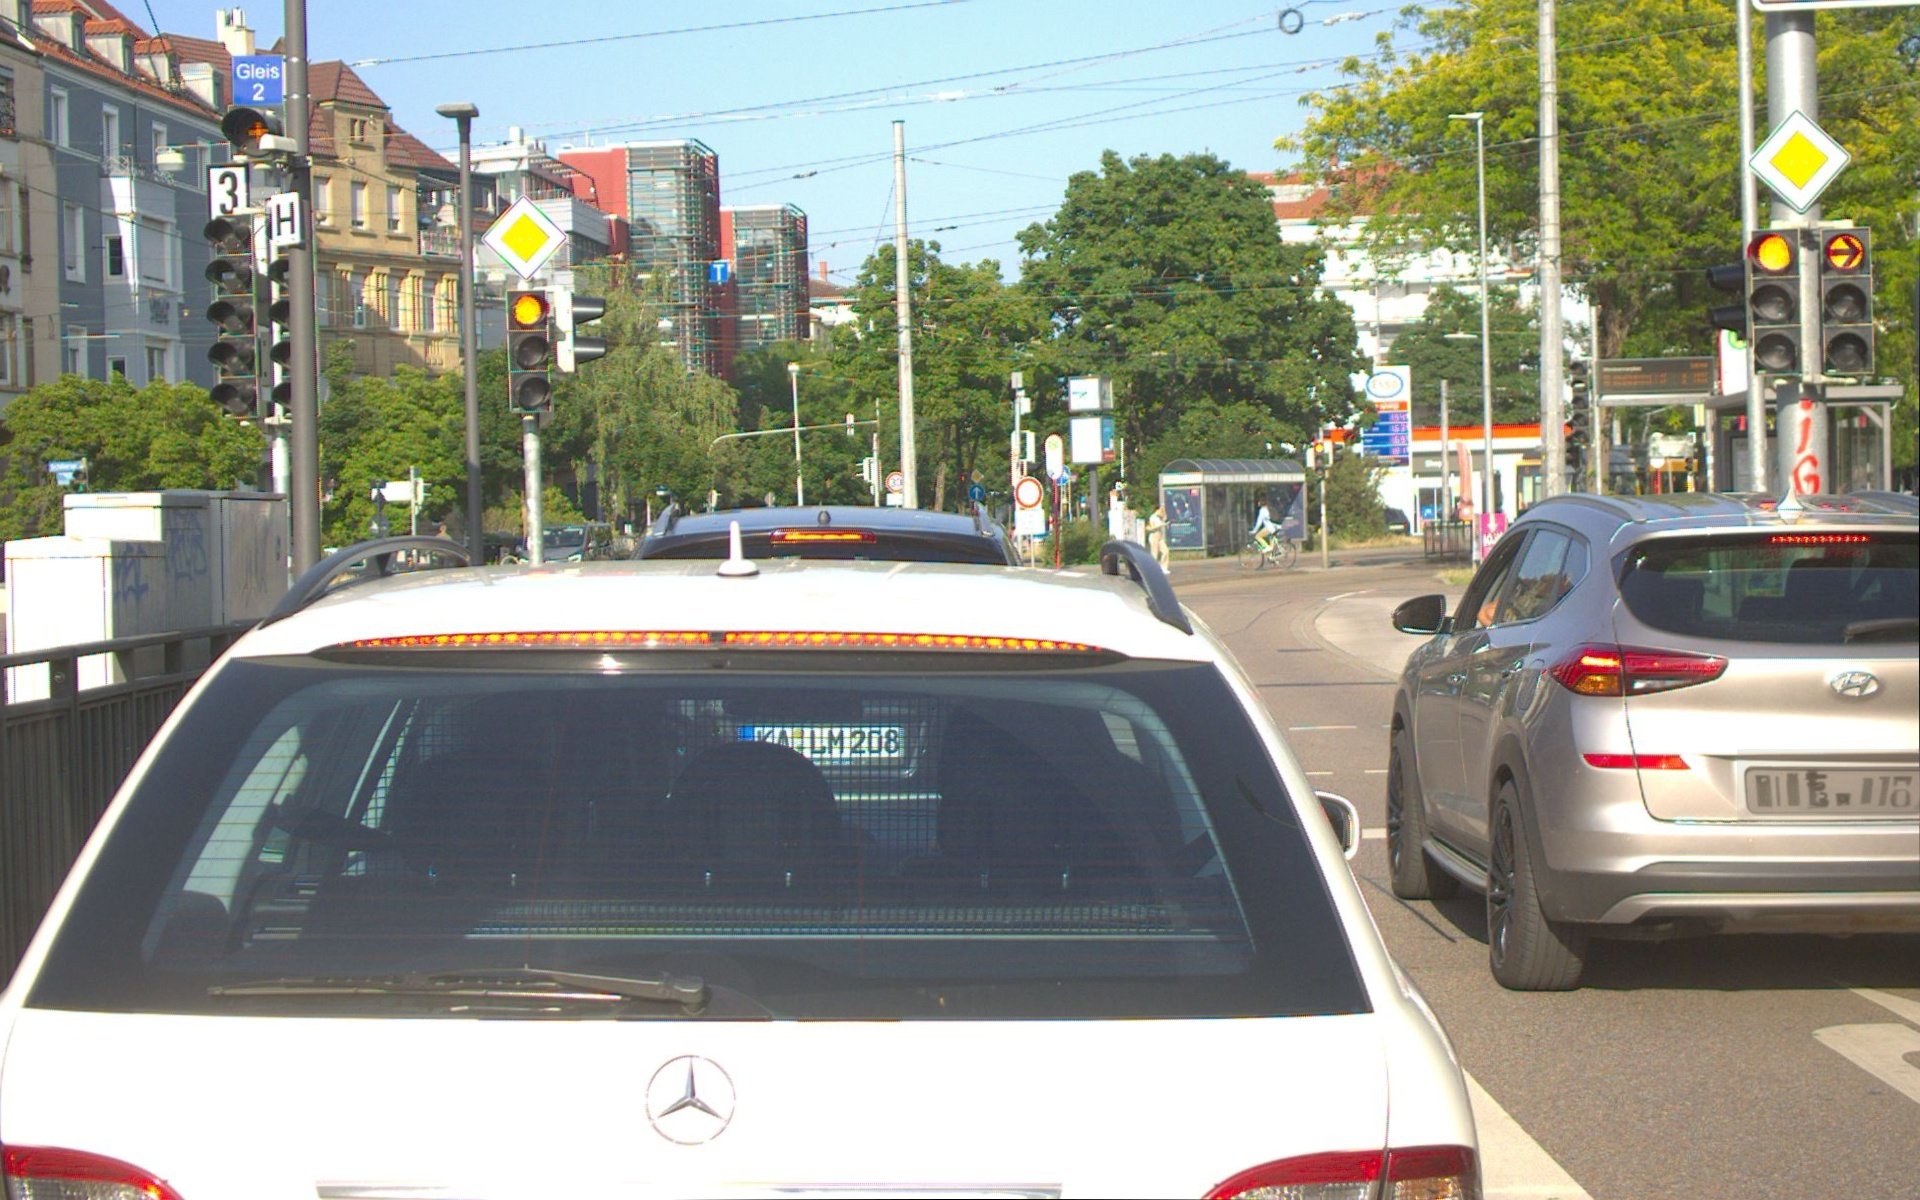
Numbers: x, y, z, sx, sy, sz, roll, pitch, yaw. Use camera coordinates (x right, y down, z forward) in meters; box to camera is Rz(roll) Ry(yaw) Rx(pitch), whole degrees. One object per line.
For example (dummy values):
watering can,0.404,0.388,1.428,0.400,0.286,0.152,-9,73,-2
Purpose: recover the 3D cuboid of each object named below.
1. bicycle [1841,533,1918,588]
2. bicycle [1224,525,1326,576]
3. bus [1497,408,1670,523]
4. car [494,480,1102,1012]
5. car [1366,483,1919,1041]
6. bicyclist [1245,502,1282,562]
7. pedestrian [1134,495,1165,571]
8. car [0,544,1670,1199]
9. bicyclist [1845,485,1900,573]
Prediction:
bicycle,13.389,-0.587,50.103,0.495,0.754,2.169,-3,1,0
bicycle,7.914,-1.235,86.234,2.483,1.209,0.806,-1,1,8
bus,21.716,-4.562,119.052,3.112,3.593,12.359,1,1,23
car,-0.523,0.421,12.595,1.885,1.645,3.648,1,1,0
car,2.633,0.439,12.164,1.885,1.645,3.648,-2,1,0
bicyclist,7.617,-1.713,86.245,0.861,1.476,0.789,-1,1,9
pedestrian,4.698,-1.666,85.099,0.642,1.850,0.551,-1,1,11
car,-0.276,0.662,4.991,1.796,1.465,3.648,0,1,-1
bicyclist,13.313,-1.035,50.167,0.534,1.258,0.869,-2,1,0
